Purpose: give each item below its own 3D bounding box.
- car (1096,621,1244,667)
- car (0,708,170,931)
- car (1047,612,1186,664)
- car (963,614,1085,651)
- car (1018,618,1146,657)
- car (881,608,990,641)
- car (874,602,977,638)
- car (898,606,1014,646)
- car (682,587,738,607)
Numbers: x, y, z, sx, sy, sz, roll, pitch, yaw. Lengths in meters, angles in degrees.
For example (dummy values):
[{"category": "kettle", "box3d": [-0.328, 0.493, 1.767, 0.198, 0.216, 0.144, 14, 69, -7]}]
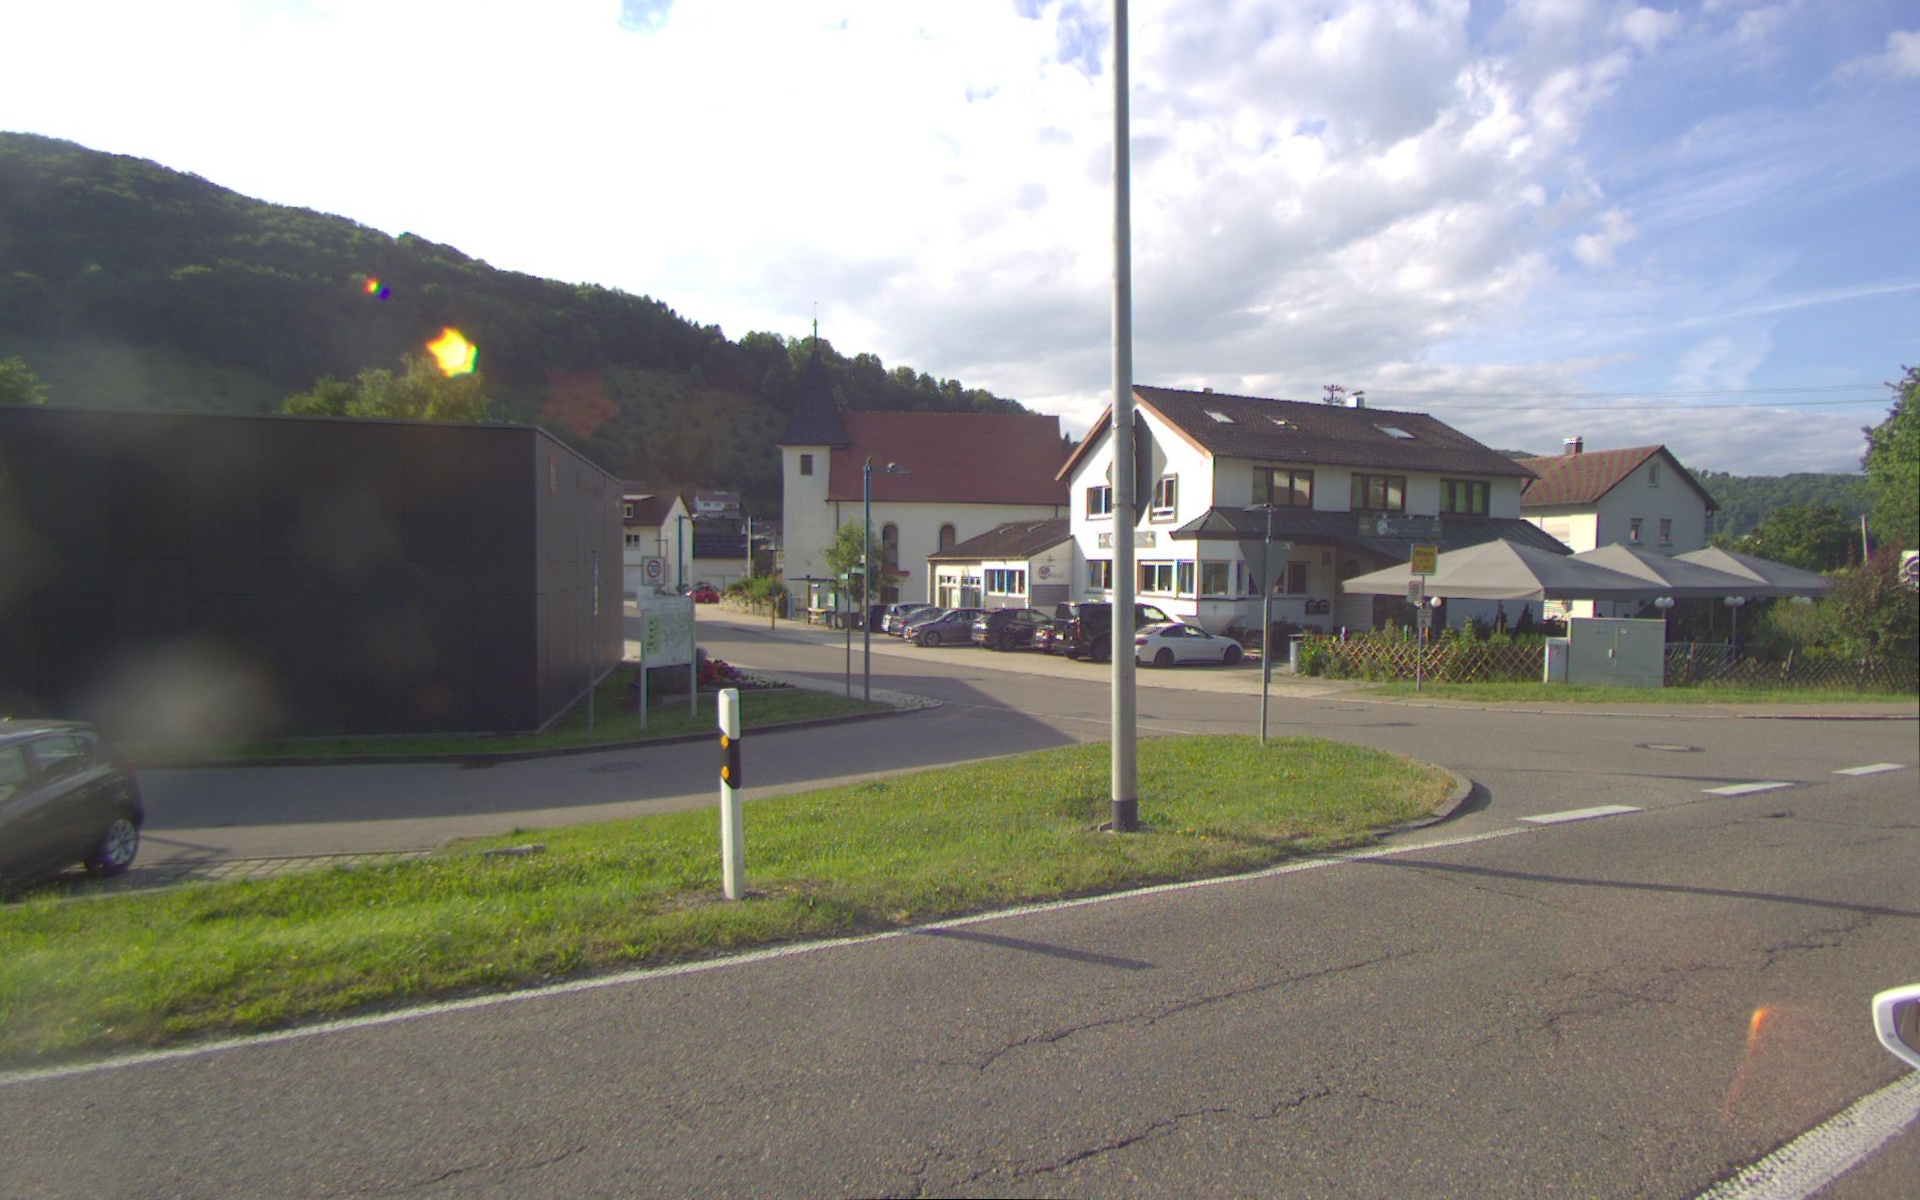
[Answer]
[{"category": "car", "box3d": [6.889, 1.418, 32.850, 4.518, 1.408, 1.986, 1, -1, -27]}, {"category": "car", "box3d": [-8.491, 1.825, 8.024, 1.801, 1.555, 3.992, 1, -1, -12]}, {"category": "car", "box3d": [5.476, 1.298, 35.120, 4.518, 1.707, 1.986, 1, -1, -27]}, {"category": "car", "box3d": [2.552, 1.282, 40.167, 4.518, 1.431, 1.986, 1, -1, -27]}, {"category": "car", "box3d": [4.658, 1.404, 38.231, 4.518, 1.408, 1.986, 1, -1, -27]}, {"category": "car", "box3d": [-1.103, 1.095, 45.473, 4.518, 1.431, 1.986, 1, -1, -27]}, {"category": "car", "box3d": [-1.646, 0.979, 48.071, 4.518, 1.665, 1.986, 1, -1, -27]}, {"category": "car", "box3d": [-0.164, 1.099, 42.310, 4.518, 1.618, 1.986, 1, -1, -27]}, {"category": "car", "box3d": [-20.062, -0.207, 80.623, 3.956, 1.528, 1.982, 0, 0, -33]}]
